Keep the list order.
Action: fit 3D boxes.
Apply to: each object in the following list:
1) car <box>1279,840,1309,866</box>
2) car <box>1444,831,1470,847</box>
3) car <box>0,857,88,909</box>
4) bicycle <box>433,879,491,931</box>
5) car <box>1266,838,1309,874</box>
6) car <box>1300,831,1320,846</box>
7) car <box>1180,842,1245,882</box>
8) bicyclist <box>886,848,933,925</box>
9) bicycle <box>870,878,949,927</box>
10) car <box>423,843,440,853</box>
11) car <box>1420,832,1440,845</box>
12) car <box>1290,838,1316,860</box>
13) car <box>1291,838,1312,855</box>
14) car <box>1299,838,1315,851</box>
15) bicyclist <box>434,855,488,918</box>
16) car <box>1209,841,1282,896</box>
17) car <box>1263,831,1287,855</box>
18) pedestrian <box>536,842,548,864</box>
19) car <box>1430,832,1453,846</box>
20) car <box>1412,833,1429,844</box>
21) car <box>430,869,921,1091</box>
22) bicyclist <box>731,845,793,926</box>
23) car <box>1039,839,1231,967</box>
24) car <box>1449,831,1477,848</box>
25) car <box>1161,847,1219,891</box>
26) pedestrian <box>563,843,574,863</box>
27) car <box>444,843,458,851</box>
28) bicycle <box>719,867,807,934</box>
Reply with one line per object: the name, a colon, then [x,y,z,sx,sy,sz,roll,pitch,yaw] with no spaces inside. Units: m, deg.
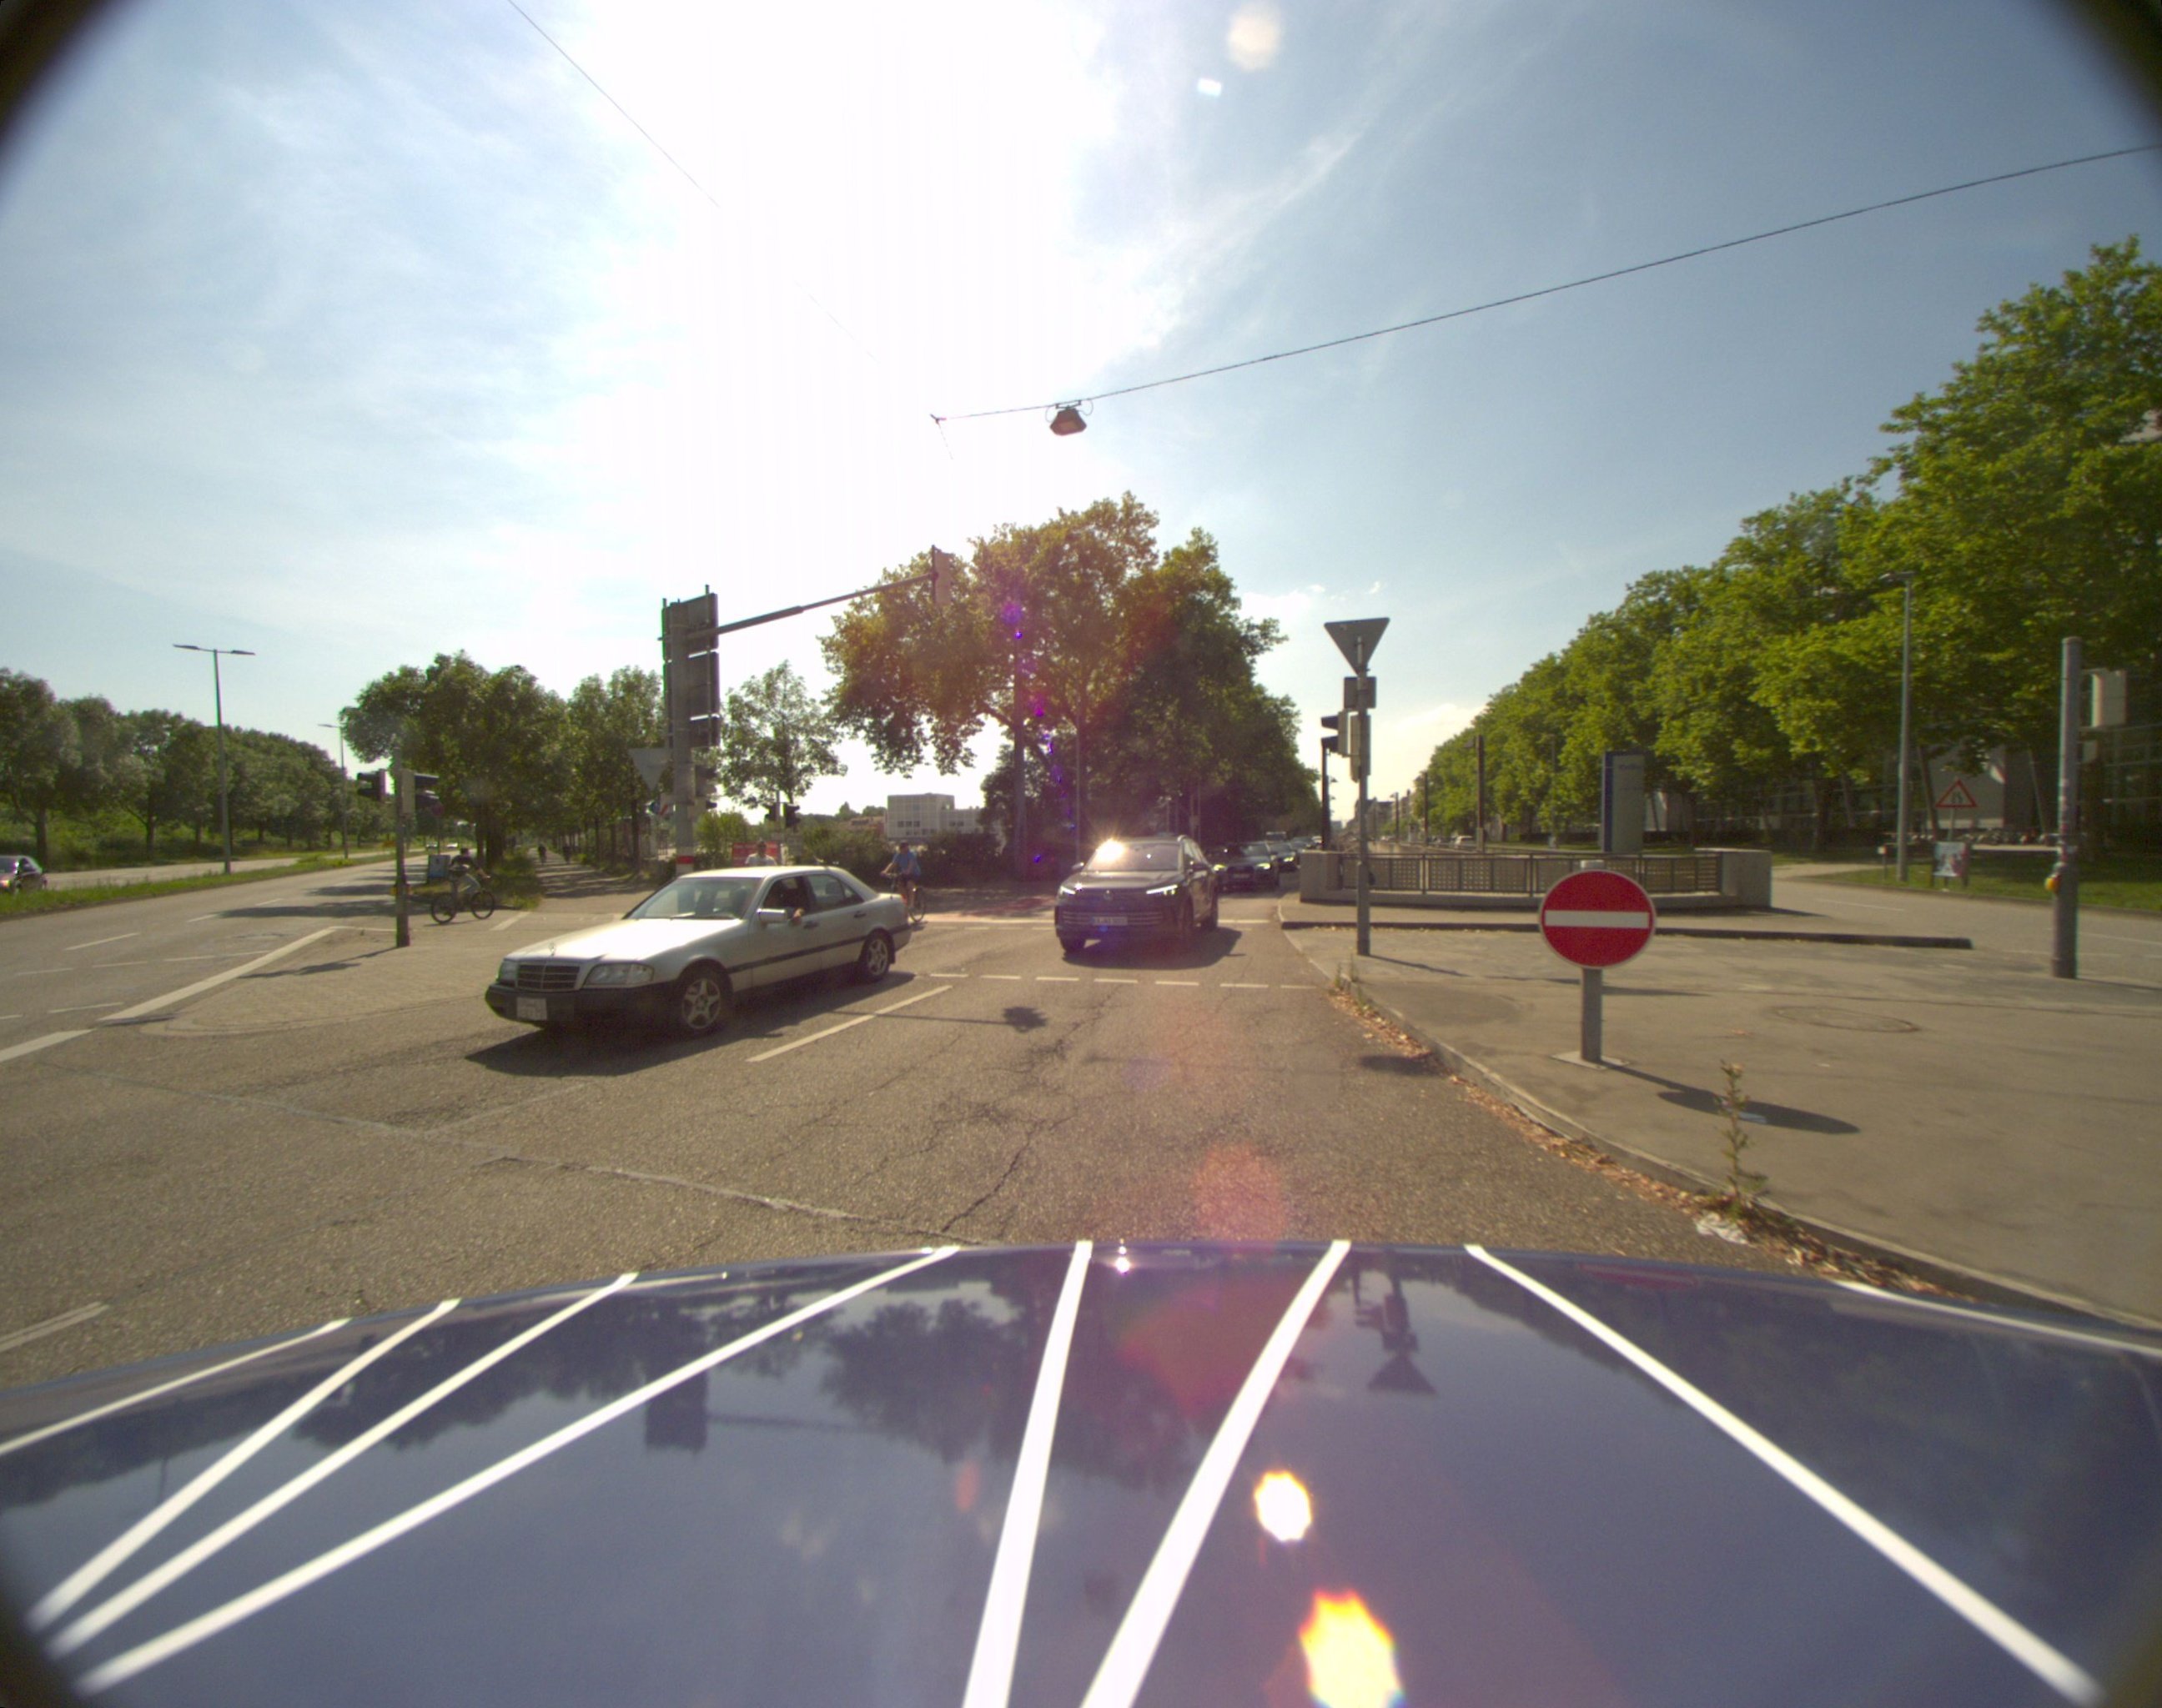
car: [13.644,-0.099,48.567,1.779,1.487,4.004,0,2,17]
car: [41.385,-1.653,83.660,1.900,1.630,4.004,-2,1,17]
car: [-32.887,0.894,23.177,1.719,1.499,3.990,-3,1,-30]
bicycle: [-15.235,1.204,18.667,0.886,1.053,2.764,-3,3,-43]
car: [10.282,0.054,37.685,1.815,1.604,4.005,-2,1,18]
car: [23.082,-1.591,76.568,1.819,1.521,4.004,0,2,19]
car: [6.435,0.350,36.737,1.995,1.714,5.171,-2,1,22]
bicyclist: [-3.628,0.663,16.112,0.546,1.558,0.910,0,2,17]
bicycle: [-3.608,0.996,16.195,0.546,0.830,2.303,0,2,18]
car: [-121.548,-1.179,142.157,2.003,1.740,4.260,-2,2,-35]
car: [48.203,-2.153,105.009,1.900,1.630,4.004,-2,1,17]
car: [16.310,-0.378,55.834,1.779,1.487,4.004,0,2,17]
car: [20.438,-0.699,70.377,1.779,1.487,4.004,0,2,17]
car: [26.644,-1.152,89.510,1.779,1.487,4.004,0,2,17]
bicyclist: [-15.109,0.761,18.515,0.886,1.435,0.963,-3,3,-43]
car: [5.408,0.391,24.565,1.826,1.541,4.565,0,2,18]
car: [20.242,-1.159,79.201,2.097,2.338,5.641,0,2,17]
pedestrian: [-42.266,-0.112,59.576,0.632,1.700,0.765,-3,3,-38]
car: [43.991,-1.855,92.794,1.900,1.630,4.790,-2,1,17]
car: [52.636,-2.446,117.883,1.900,1.630,4.004,-2,1,17]
car: [-3.568,0.956,7.815,1.712,1.384,4.446,0,2,18]
bicyclist: [-5.917,0.554,14.076,0.775,1.428,0.918,-3,3,-41]
car: [1.152,0.593,12.494,1.944,1.599,4.980,0,2,18]
car: [39.536,-1.526,78.662,1.900,1.630,4.004,-2,1,17]
car: [4.927,0.604,33.912,1.896,1.762,4.177,0,2,17]
pedestrian: [-39.972,-0.105,59.270,0.580,1.515,0.877,-3,3,-38]
car: [-139.951,-1.637,168.893,2.003,1.740,4.260,-2,2,-35]
bicycle: [-5.945,0.813,14.126,0.775,1.047,2.394,-2,3,-41]
